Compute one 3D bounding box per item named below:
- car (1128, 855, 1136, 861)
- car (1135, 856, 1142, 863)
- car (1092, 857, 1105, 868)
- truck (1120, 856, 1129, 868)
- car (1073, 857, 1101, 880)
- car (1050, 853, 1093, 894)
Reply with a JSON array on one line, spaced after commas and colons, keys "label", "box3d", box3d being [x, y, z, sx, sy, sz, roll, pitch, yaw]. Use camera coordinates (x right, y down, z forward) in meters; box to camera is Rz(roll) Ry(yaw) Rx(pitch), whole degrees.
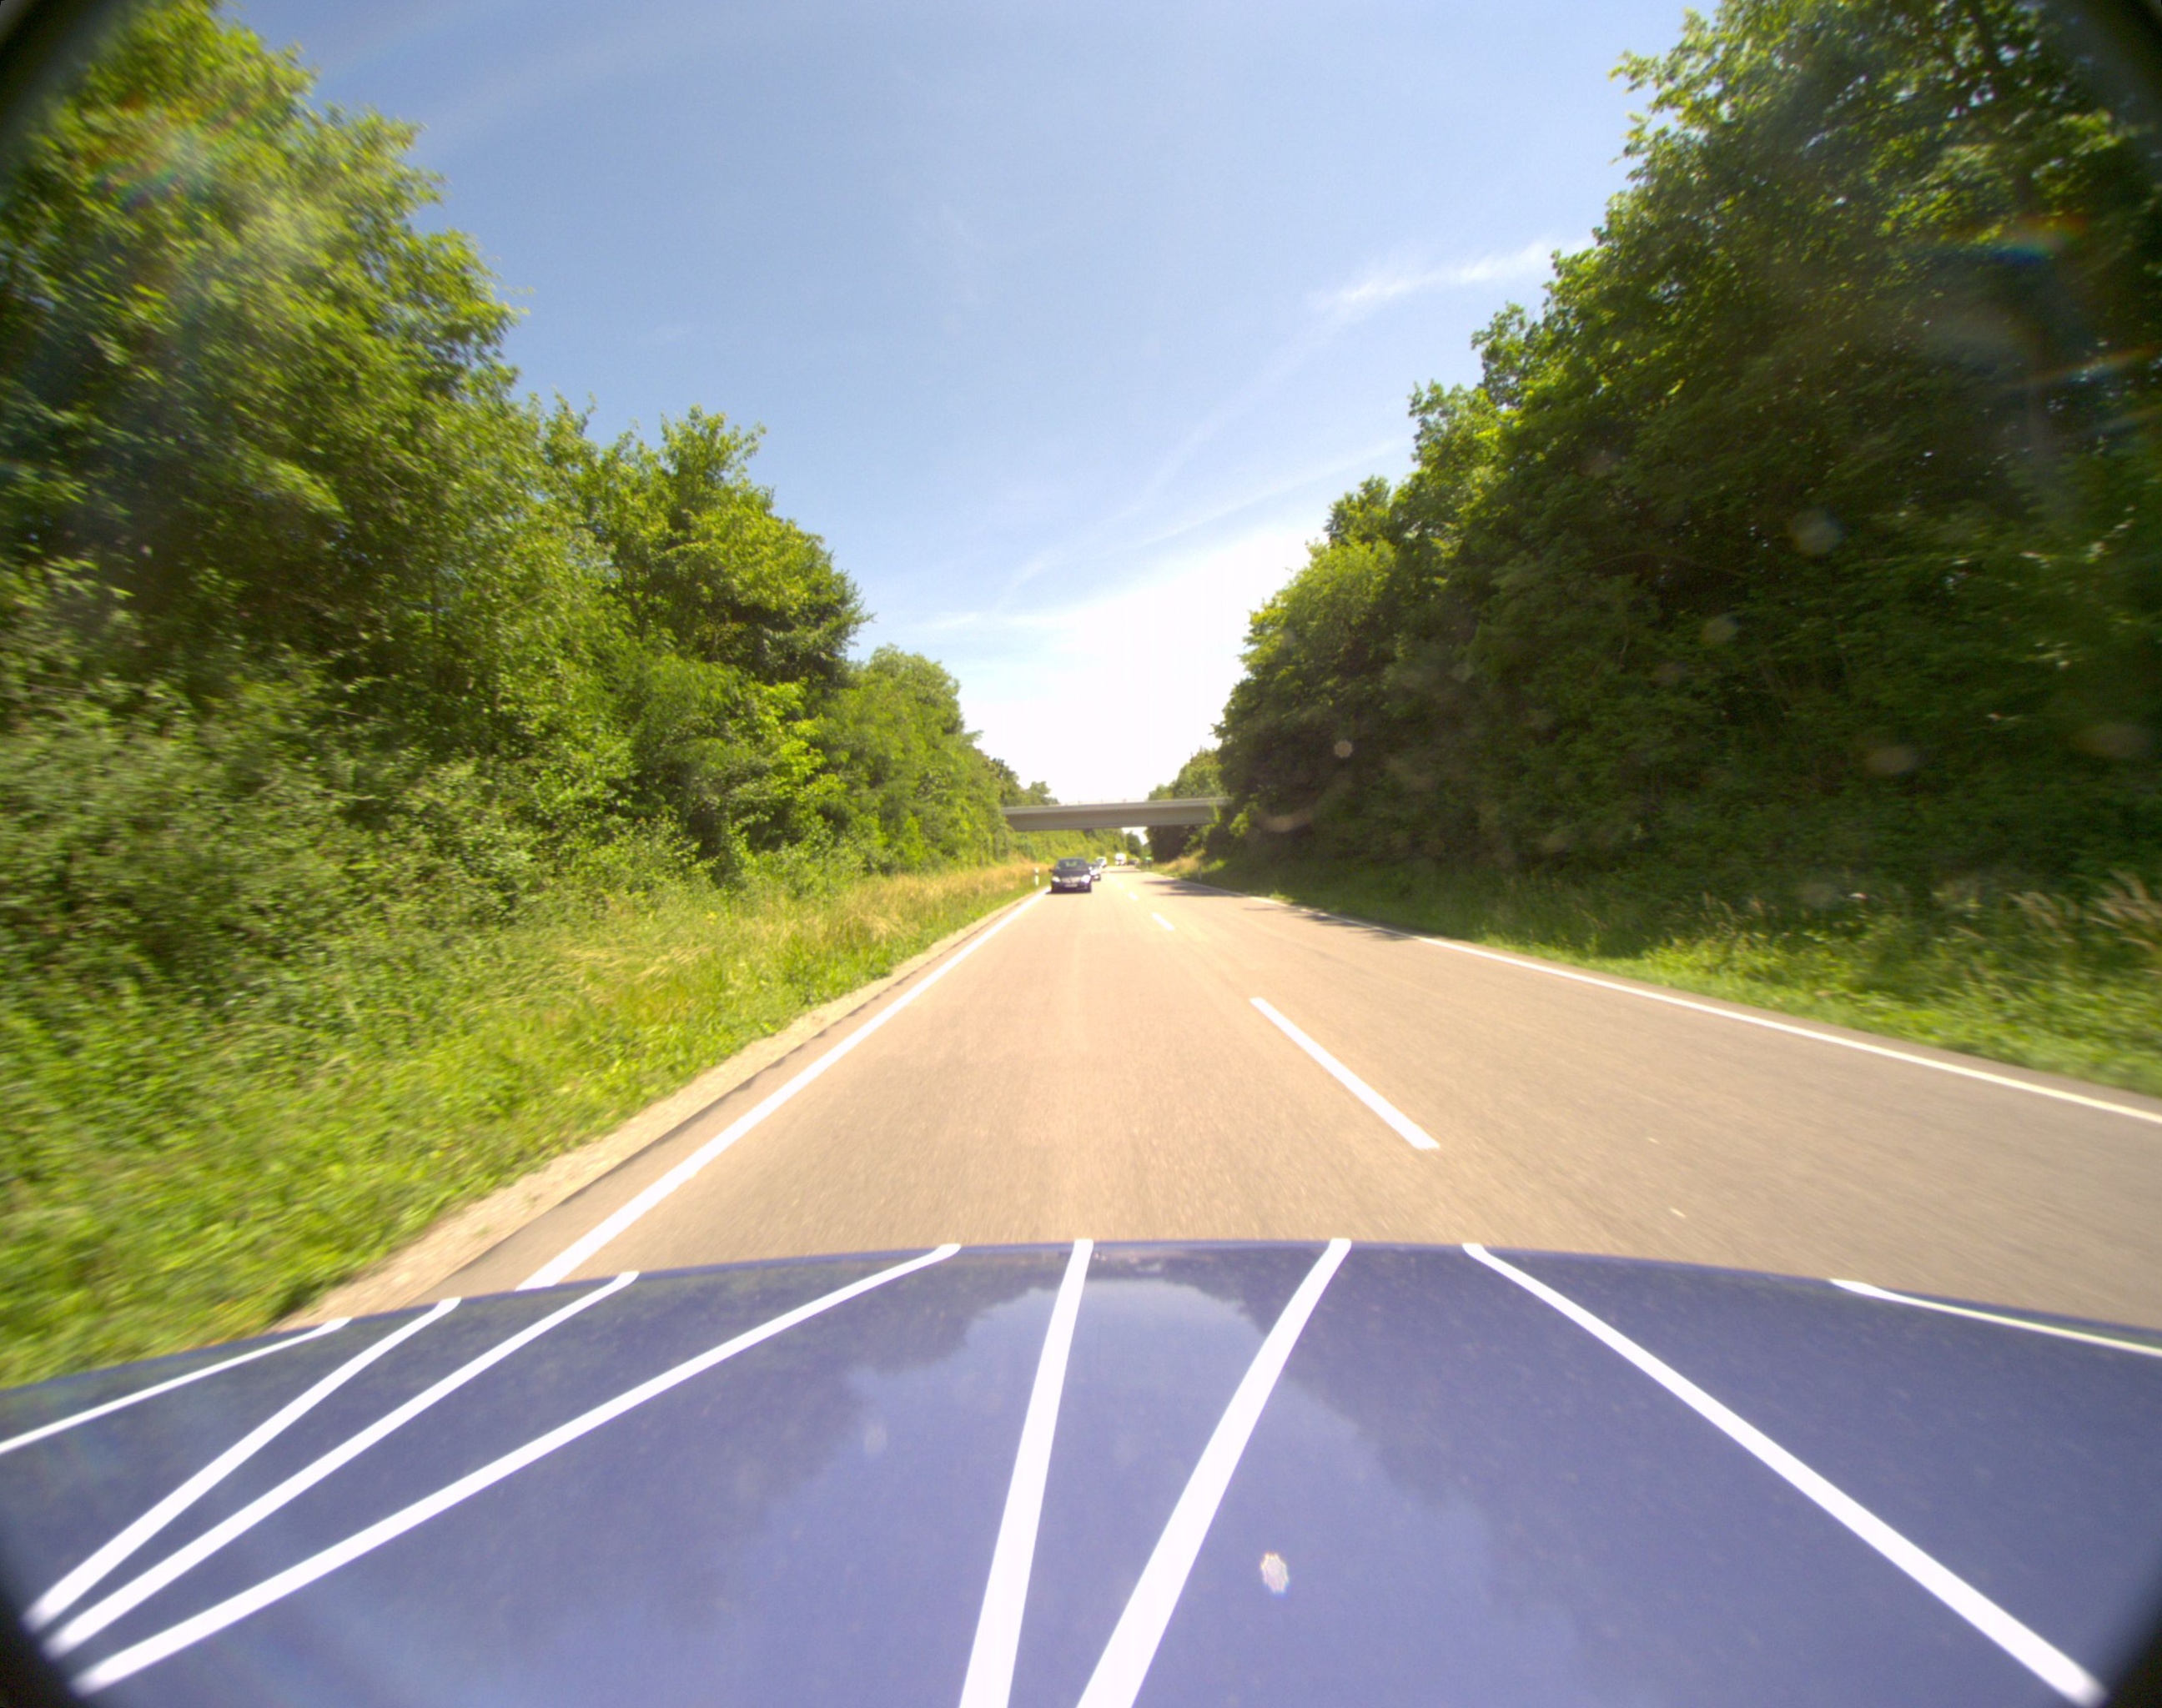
[{"label": "car", "box3d": [13.075, 1.085, 194.545, 1.863, 1.497, 4.587, -1, 0, 2]}, {"label": "car", "box3d": [17.675, 1.733, 231.979, 1.936, 1.894, 5.328, -2, 0, 3]}, {"label": "car", "box3d": [2.910, 1.328, 124.517, 2.045, 1.743, 4.166, -2, 0, 0]}, {"label": "truck", "box3d": [13.485, 2.398, 235.055, 2.577, 3.111, 11.200, -5, 1, 3]}, {"label": "car", "box3d": [0.473, 0.968, 51.832, 1.709, 1.444, 5.416, -2, 0, 2]}, {"label": "car", "box3d": [-0.347, 0.857, 34.849, 1.783, 1.676, 4.779, -1, 0, 1]}]
